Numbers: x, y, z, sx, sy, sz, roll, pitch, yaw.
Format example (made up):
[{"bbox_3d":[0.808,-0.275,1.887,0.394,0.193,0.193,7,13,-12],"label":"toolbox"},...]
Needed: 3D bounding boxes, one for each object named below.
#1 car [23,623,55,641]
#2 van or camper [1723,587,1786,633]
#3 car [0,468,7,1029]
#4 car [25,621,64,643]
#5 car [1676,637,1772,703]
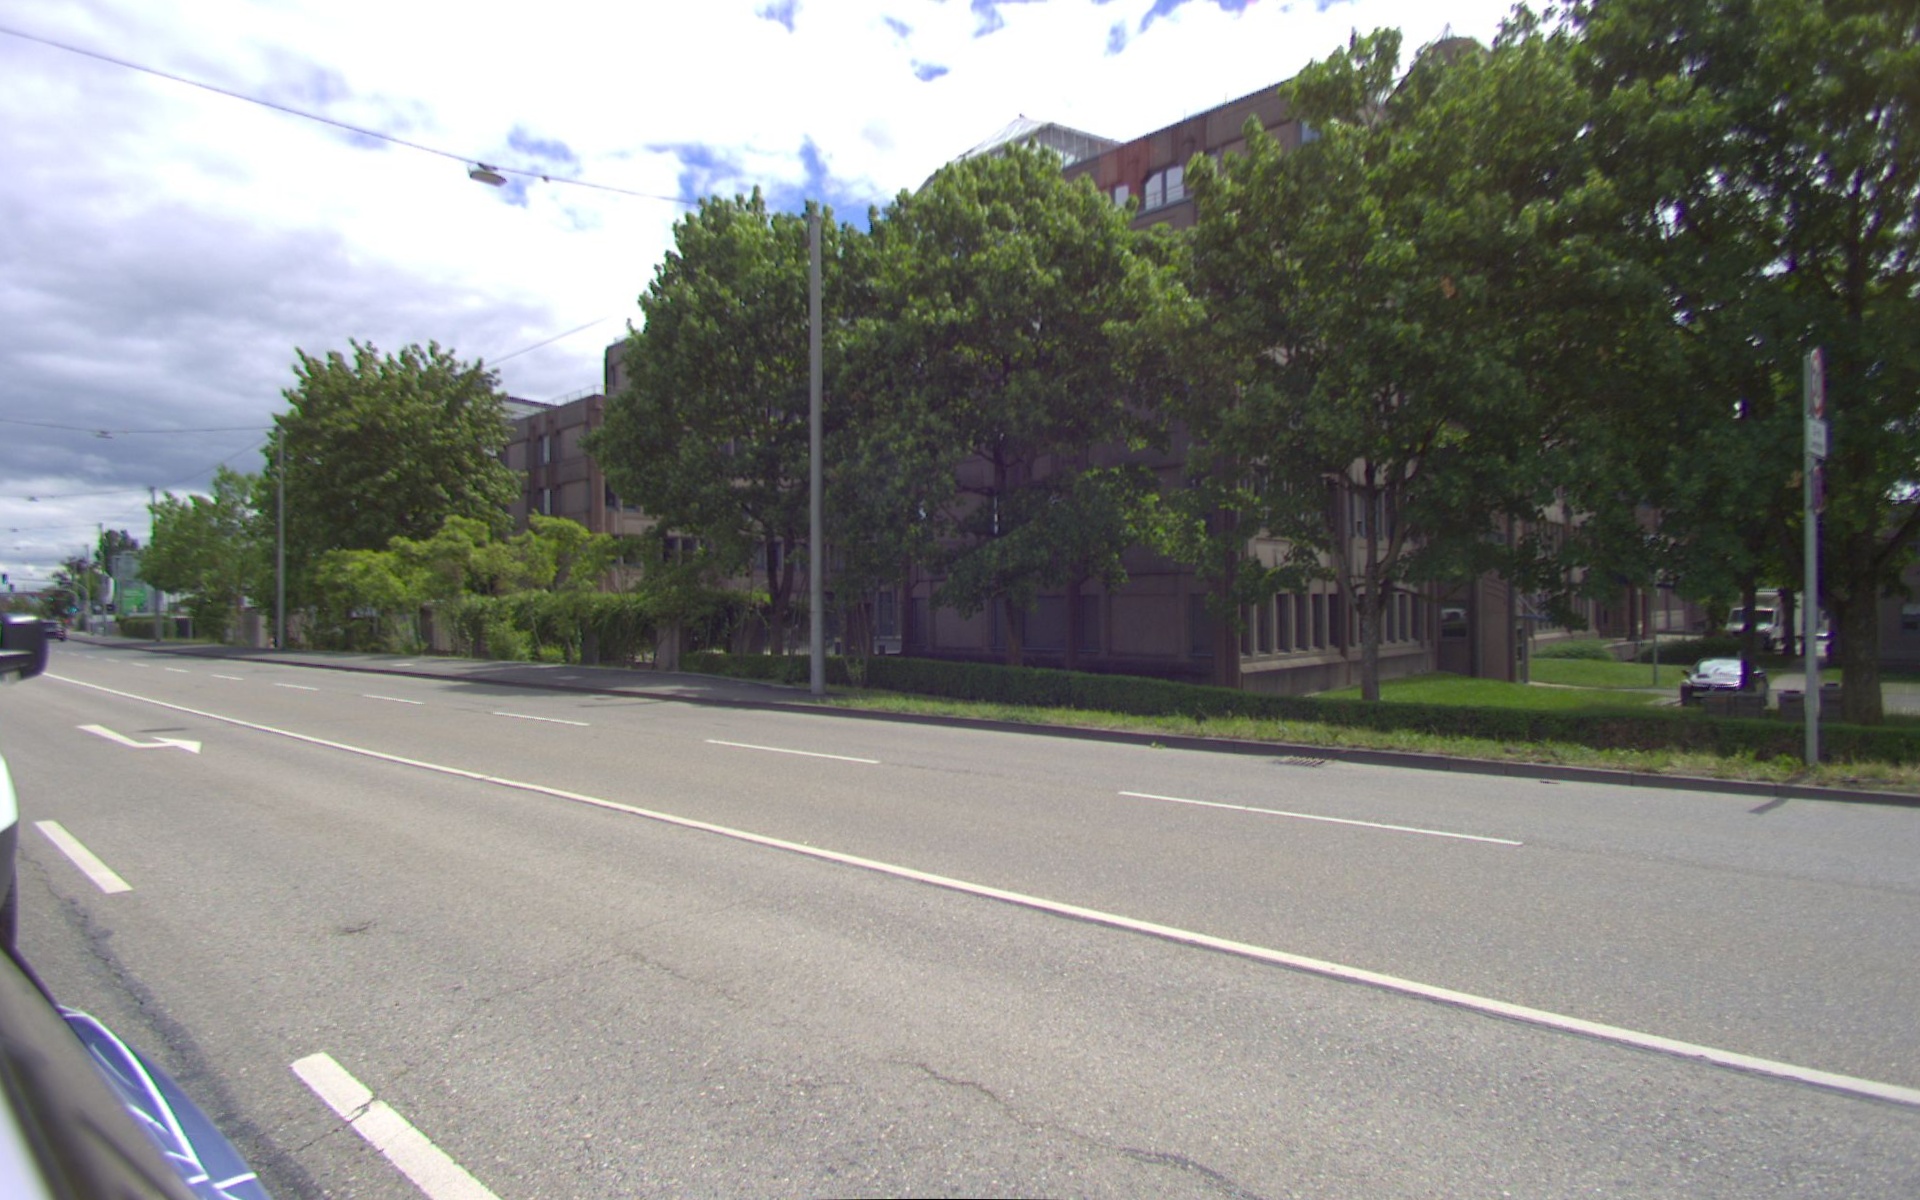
[{"bbox_3d":[-88.690,3.049,97.430,4.312,1.597,1.777,-1,0,42],"label":"car"},{"bbox_3d":[39.479,0.473,50.228,2.356,2.120,5.136,0,0,39],"label":"van or camper"},{"bbox_3d":[-6.081,0.589,4.869,5.884,1.932,1.971,-2,-2,45],"label":"car"},{"bbox_3d":[-70.782,2.430,78.214,4.572,1.627,1.847,-1,-1,43],"label":"car"},{"bbox_3d":[22.329,1.993,29.537,1.787,1.741,3.942,-1,-3,44],"label":"car"}]
